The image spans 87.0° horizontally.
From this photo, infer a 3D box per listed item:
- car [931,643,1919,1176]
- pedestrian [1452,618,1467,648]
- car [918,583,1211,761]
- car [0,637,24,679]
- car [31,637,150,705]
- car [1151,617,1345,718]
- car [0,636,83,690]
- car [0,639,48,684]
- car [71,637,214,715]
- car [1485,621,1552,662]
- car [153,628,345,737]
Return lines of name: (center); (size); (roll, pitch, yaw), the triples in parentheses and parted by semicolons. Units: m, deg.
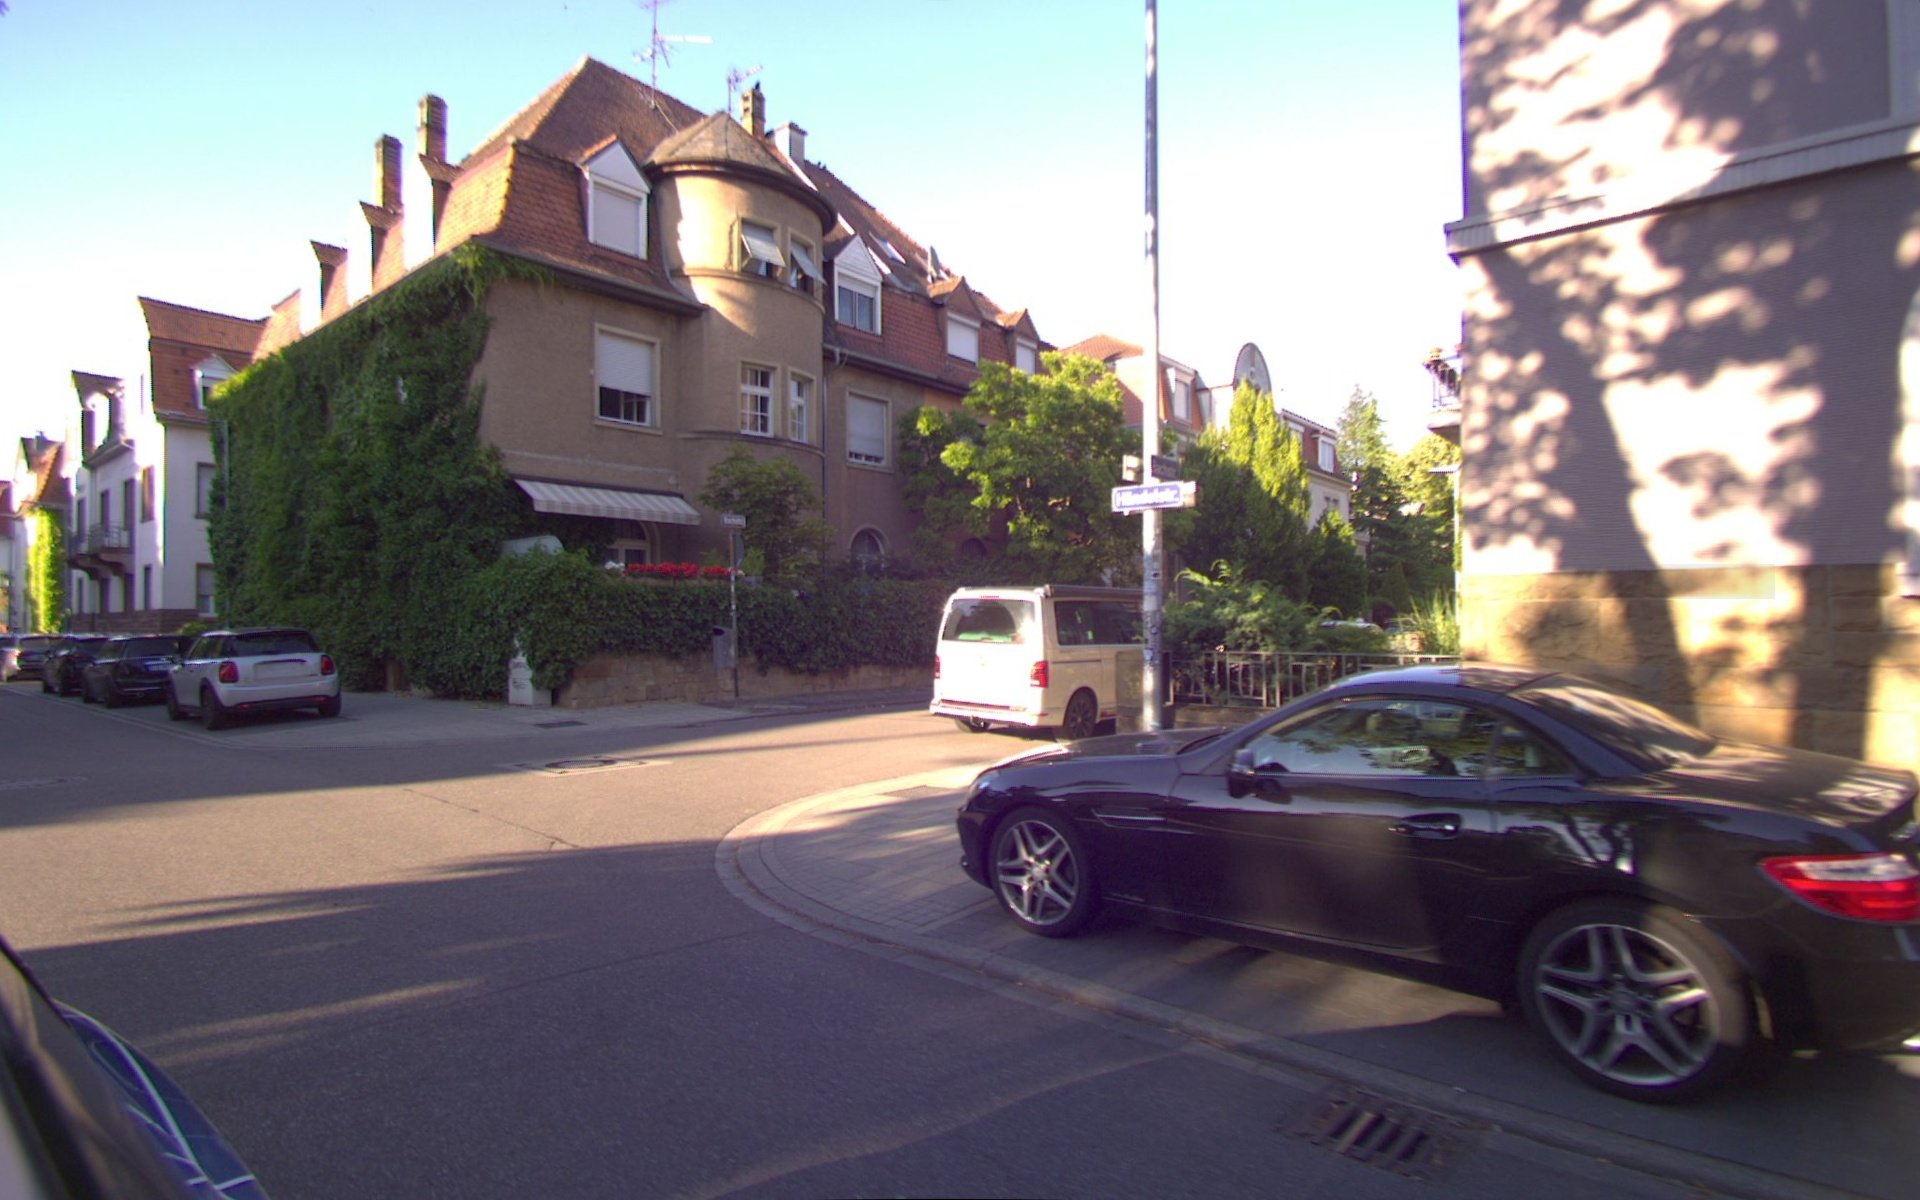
car: (1.887, 0.903, 4.473); (4.046, 1.334, 1.635); (-2, -1, 43)
pedestrian: (30.219, 2.009, 61.234); (0.662, 1.793, 0.582); (-2, -2, 38)
car: (1.600, 0.847, 13.958); (1.998, 2.029, 4.358); (1, 0, 38)
car: (-36.915, 2.211, 38.427); (3.762, 1.497, 1.636); (-3, -1, 41)
car: (-20.931, 1.655, 24.309); (4.097, 1.431, 1.632); (-3, -1, 41)
car: (5.437, 1.134, 18.735); (1.998, 1.600, 4.251); (1, 0, 38)
car: (-29.015, 1.931, 31.482); (4.771, 1.472, 1.775); (-2, -1, 39)
car: (-33.481, 2.147, 35.502); (3.840, 1.458, 1.637); (-2, -1, 39)
car: (-16.662, 1.487, 20.571); (3.719, 1.390, 1.669); (-3, -1, 41)
car: (21.964, 1.581, 39.732); (1.663, 1.479, 4.144); (1, 0, 38)
car: (-11.369, 1.234, 16.078); (3.917, 1.471, 1.686); (-3, -1, 43)
